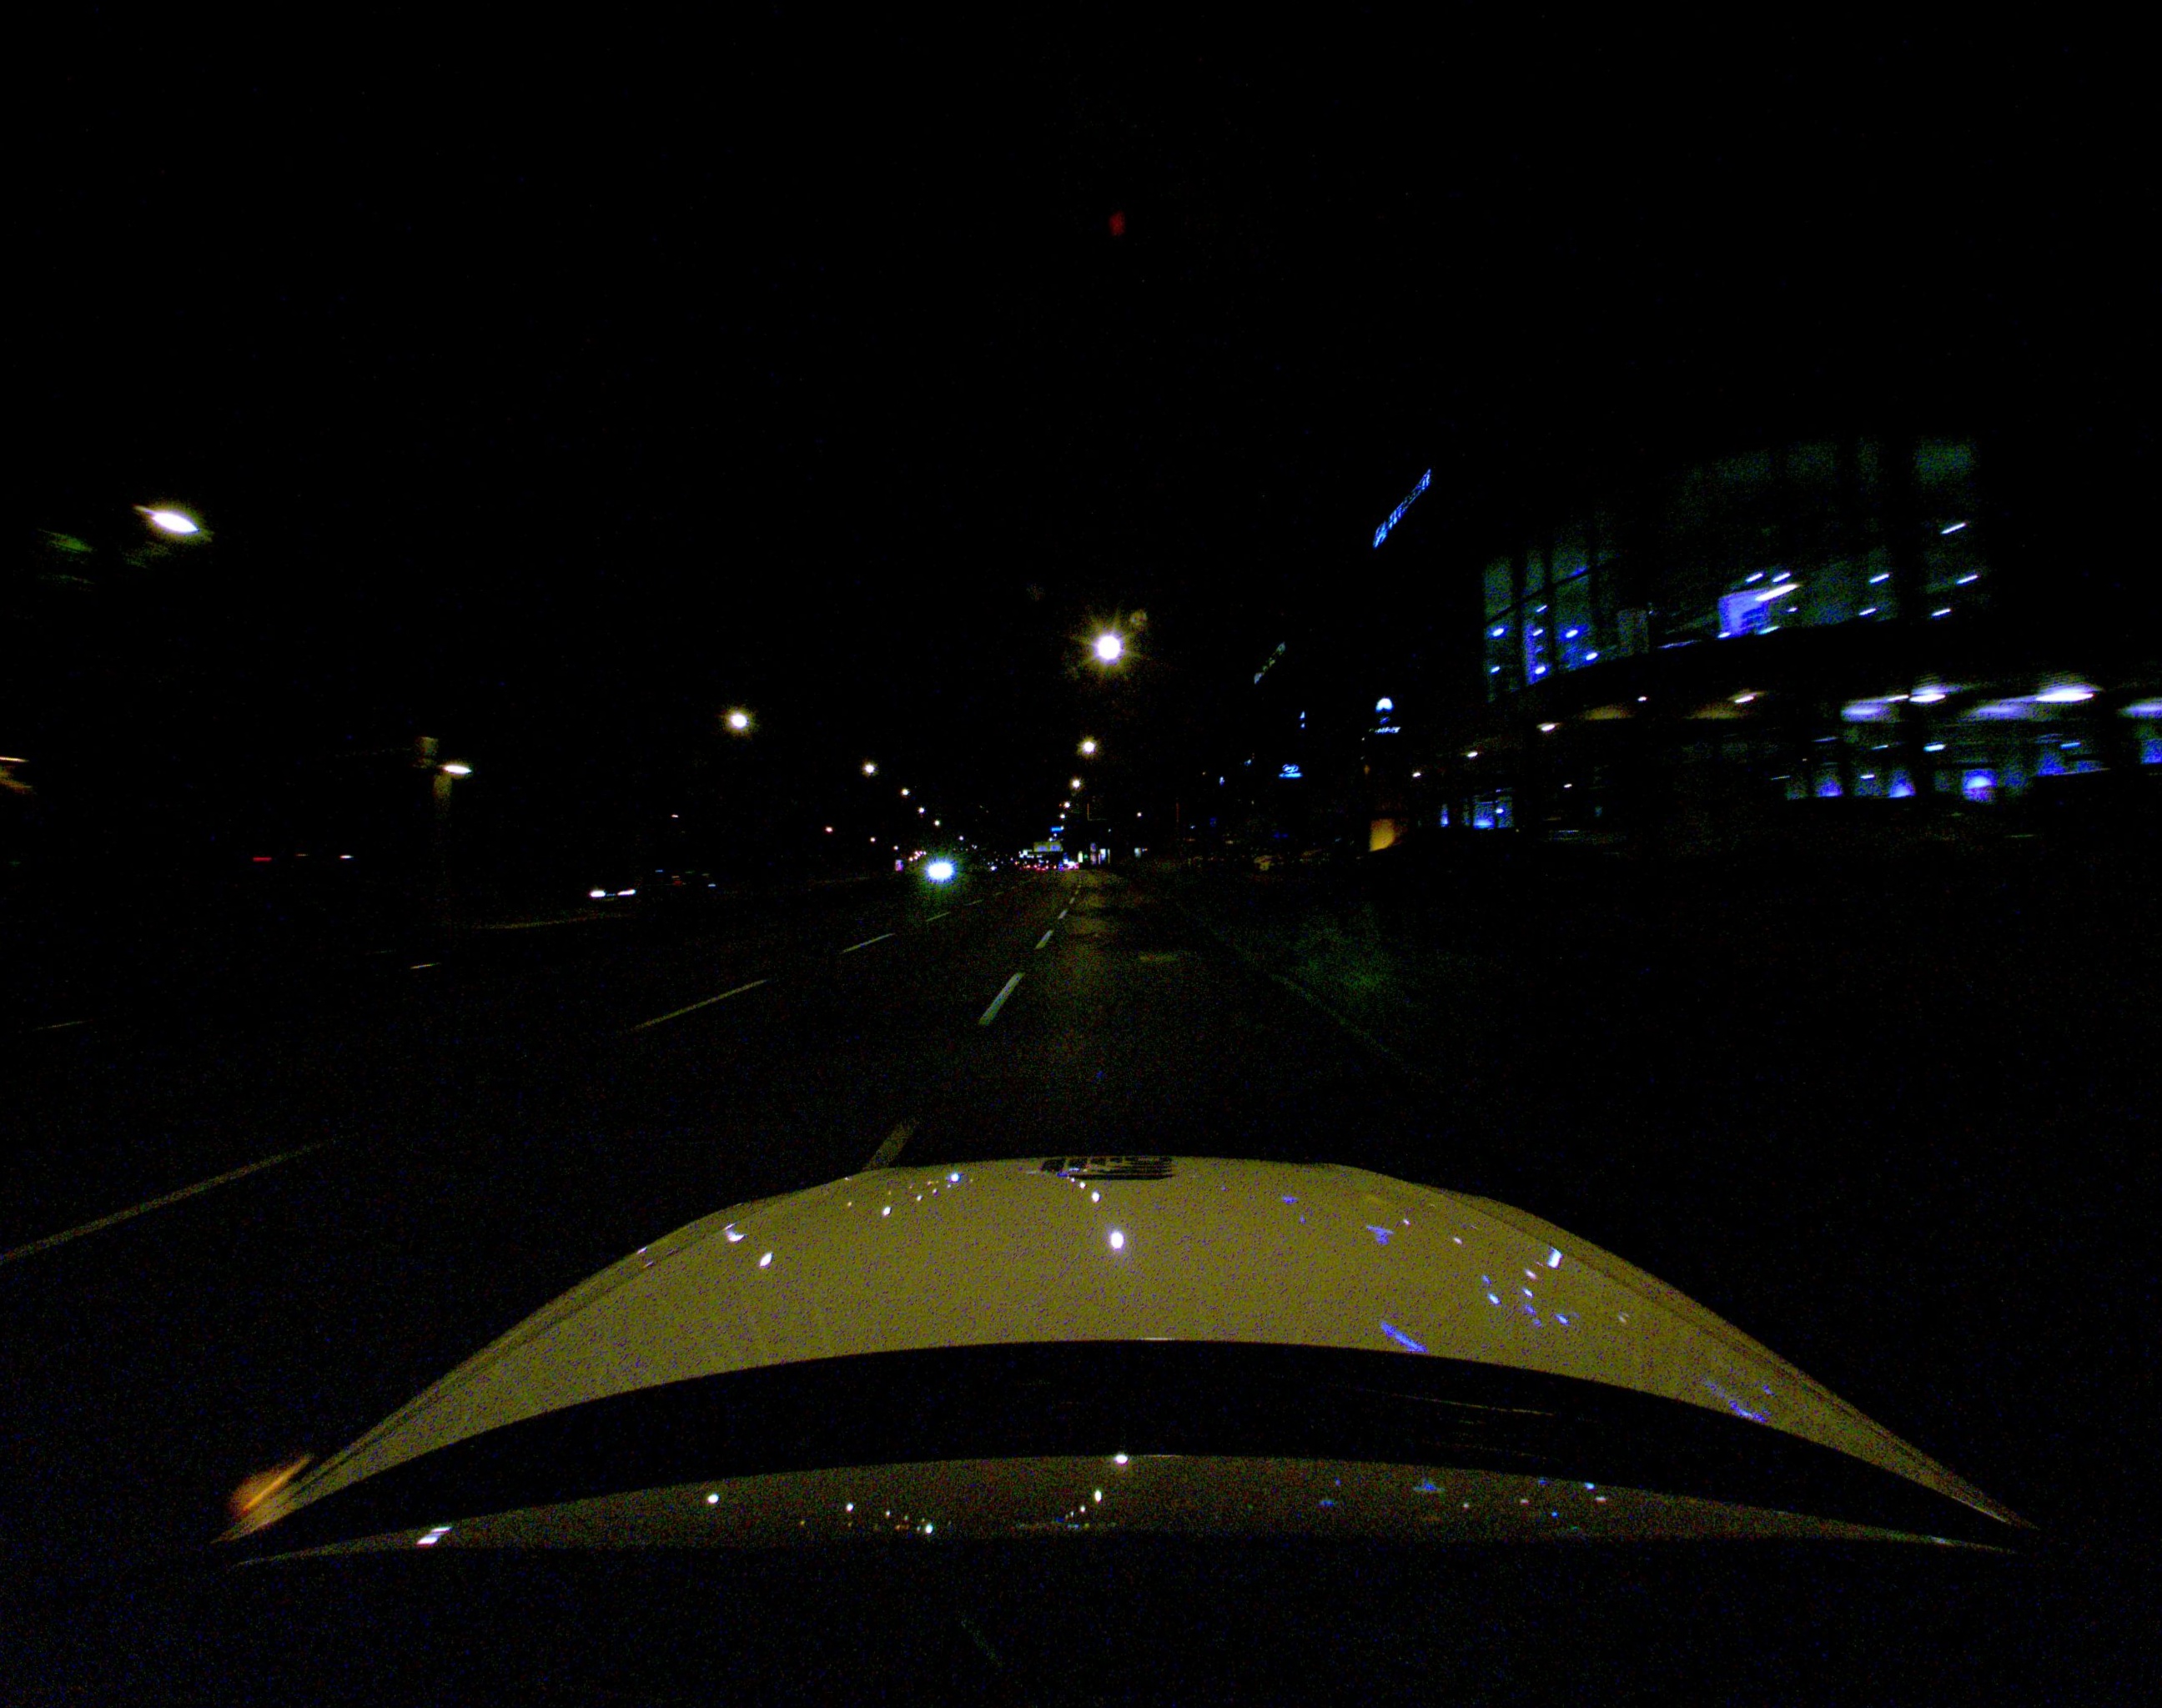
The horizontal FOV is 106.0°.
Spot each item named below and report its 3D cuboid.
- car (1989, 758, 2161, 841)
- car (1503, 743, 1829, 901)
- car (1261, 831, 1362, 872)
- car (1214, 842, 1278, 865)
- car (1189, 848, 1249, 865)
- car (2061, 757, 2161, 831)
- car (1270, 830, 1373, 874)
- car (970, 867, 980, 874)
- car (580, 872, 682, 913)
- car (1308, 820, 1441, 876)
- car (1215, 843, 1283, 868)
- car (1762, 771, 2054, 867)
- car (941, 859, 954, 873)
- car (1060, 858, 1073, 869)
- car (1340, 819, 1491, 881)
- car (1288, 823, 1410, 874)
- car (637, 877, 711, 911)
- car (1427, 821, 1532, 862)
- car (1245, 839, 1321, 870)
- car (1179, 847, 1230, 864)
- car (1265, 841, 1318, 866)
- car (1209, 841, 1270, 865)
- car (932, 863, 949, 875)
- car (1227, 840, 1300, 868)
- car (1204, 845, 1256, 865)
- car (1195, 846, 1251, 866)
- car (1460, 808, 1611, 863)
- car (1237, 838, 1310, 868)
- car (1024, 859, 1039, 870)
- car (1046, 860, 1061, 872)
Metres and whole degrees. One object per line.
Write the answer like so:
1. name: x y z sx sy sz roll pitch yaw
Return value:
1. car: 23.619 -1.270 18.240 1.801 1.577 3.938 -7 1 -22
2. car: 12.380 -0.699 17.284 6.032 2.529 2.271 -7 1 -17
3. car: 11.609 -0.109 41.127 4.461 1.547 1.764 -6 -1 -10
4. car: 11.563 -0.045 57.154 4.004 1.391 1.813 -4 1 -22
5. car: 11.494 0.188 67.974 4.652 1.264 1.931 -2 1 -25
6. car: 26.309 -1.524 19.027 1.784 1.601 3.938 -7 1 -22
7. car: 11.106 -0.104 37.648 4.082 1.568 1.848 -6 1 -11
8. car: -24.543 3.837 188.827 1.990 1.594 3.993 -3 0 -5
9. car: -18.062 1.511 32.903 1.779 1.497 4.173 -1 -2 0
10. car: 11.543 -0.230 32.114 4.462 1.810 1.993 -4 0 -11
11. car: 11.304 0.111 54.888 3.989 1.381 1.802 -4 0 -11
12. car: 17.488 -0.663 17.477 1.813 1.712 3.938 -4 0 -22
13. car: -28.913 2.578 175.960 2.147 2.671 6.932 -4 -1 -12
14. car: -2.908 1.914 164.012 2.420 2.113 4.825 -1 -1 0
15. car: 11.062 -0.129 27.073 4.204 1.663 1.954 -5 0 -11
16. car: 11.446 -0.235 34.918 4.463 1.687 1.993 -6 1 -11
17. car: -20.577 1.976 41.334 1.654 1.516 3.912 -1 -1 2
18. car: 16.541 -0.499 33.918 1.646 1.422 3.463 -3 -1 -37
19. car: 11.476 0.013 46.369 3.807 1.453 1.709 -5 0 -14
20. car: 11.094 0.160 72.973 4.127 1.420 1.868 -1 -1 -14
21. car: 16.973 -0.025 65.743 1.597 1.796 3.823 -1 -4 -40
22. car: 11.656 -0.085 60.076 4.000 1.470 1.821 -4 0 -20
23. car: -21.082 2.231 122.619 1.774 1.713 4.226 -1 -1 0
24. car: 11.514 0.020 51.509 4.032 1.373 1.816 -6 0 -16
25. car: 11.417 0.065 62.543 3.618 1.433 1.666 -1 -1 -24
26. car: 11.401 0.148 65.284 3.998 1.424 1.898 -2 1 -18
27. car: 16.534 -0.645 29.793 1.729 1.510 4.393 -4 -2 -39
28. car: 11.518 -0.060 48.838 3.772 1.378 1.709 -6 0 -14
29. car: -8.750 1.850 144.389 2.255 2.014 4.825 -1 -1 0
30. car: -4.813 2.074 142.886 2.348 2.129 4.825 -1 -1 0
